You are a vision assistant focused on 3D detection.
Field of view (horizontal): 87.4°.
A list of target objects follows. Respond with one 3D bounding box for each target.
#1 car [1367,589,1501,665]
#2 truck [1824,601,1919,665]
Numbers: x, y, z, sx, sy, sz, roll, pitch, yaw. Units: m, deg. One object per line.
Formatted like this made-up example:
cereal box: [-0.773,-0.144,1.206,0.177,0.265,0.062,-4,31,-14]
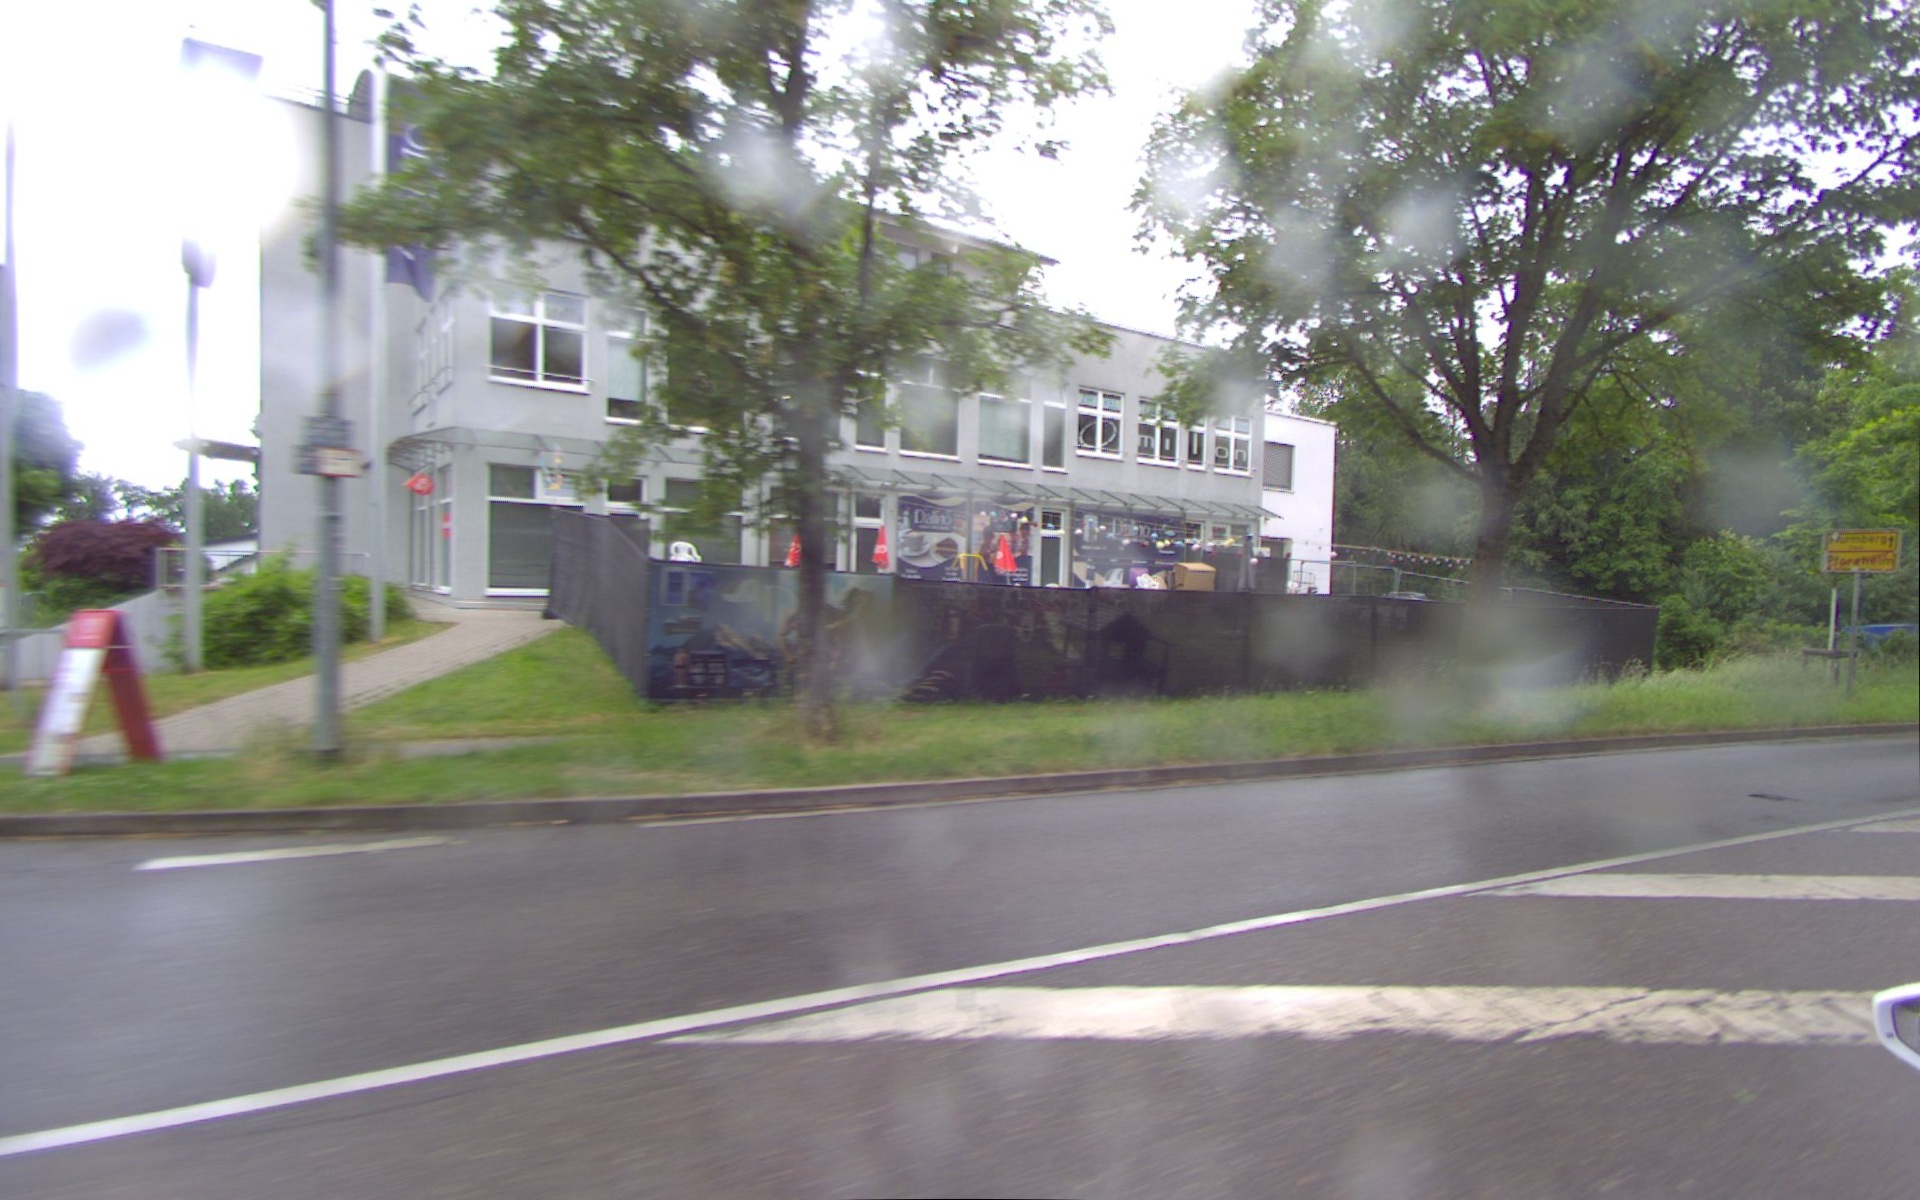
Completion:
car: [17.707,1.013,37.454,5.176,1.939,1.895,12,-5,-32]
truck: [38.778,1.346,42.418,5.164,2.491,1.982,1,2,-32]
